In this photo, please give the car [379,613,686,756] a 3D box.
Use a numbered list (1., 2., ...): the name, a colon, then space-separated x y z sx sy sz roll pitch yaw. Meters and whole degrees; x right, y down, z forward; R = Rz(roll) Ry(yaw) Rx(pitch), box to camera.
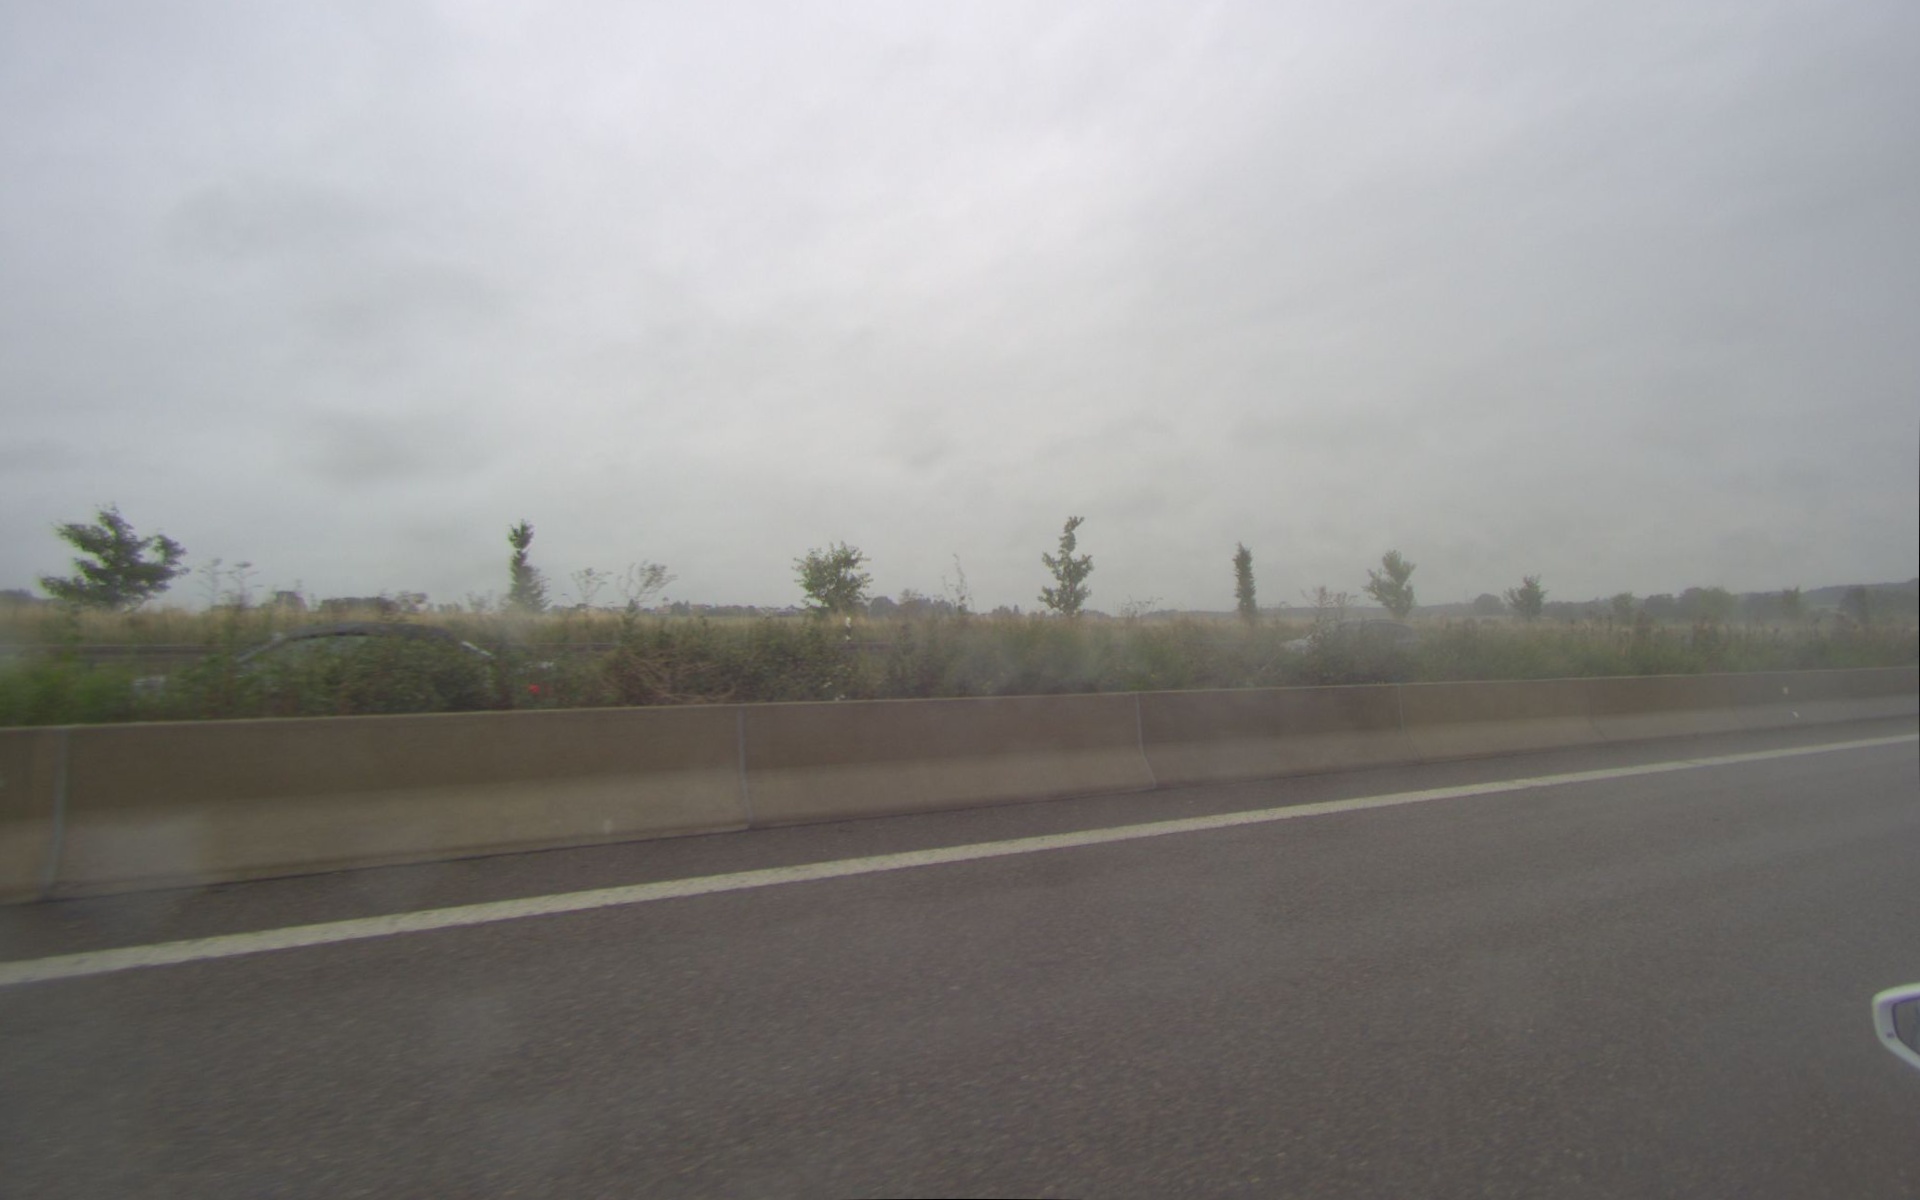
1. car: -4.304 0.803 10.190 2.717 1.261 1.202 2 0 -30
